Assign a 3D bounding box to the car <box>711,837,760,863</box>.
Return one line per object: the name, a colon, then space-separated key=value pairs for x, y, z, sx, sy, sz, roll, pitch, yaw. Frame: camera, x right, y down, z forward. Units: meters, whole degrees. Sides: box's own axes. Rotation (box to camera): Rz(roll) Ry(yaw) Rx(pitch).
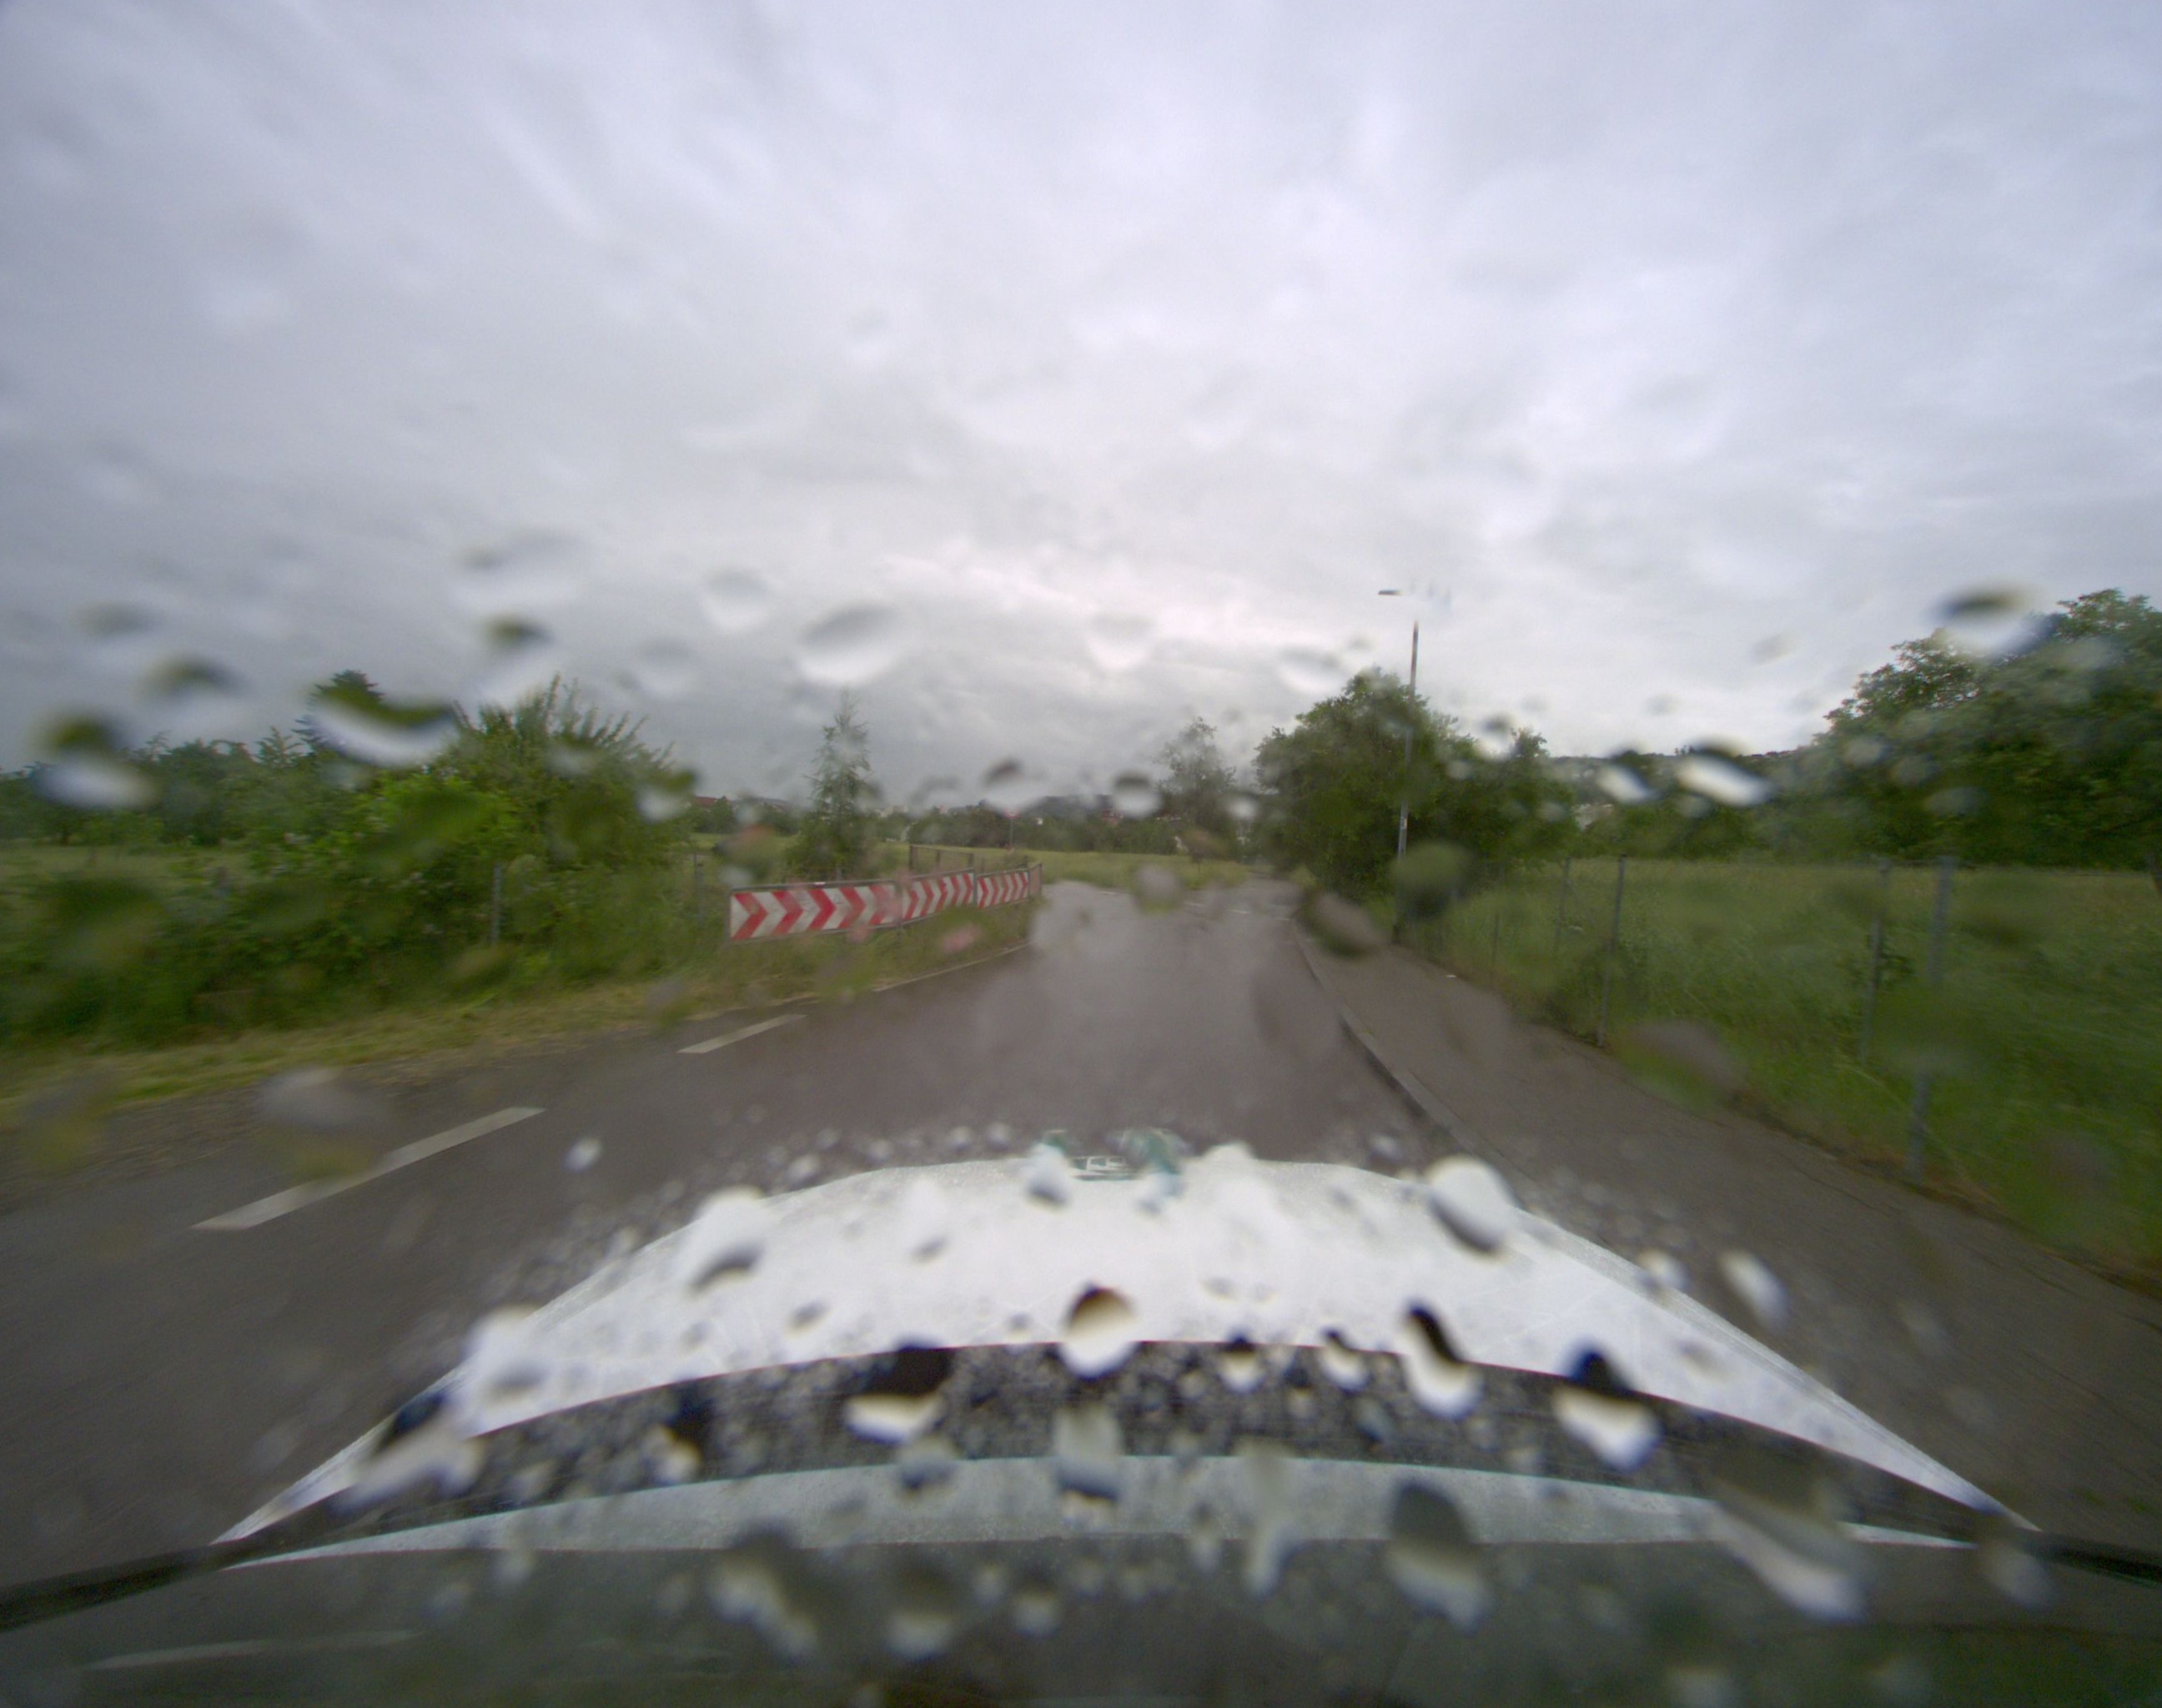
car: x=-22.415 y=-0.286 z=52.838 sx=1.830 sy=1.593 sz=3.953 roll=0 pitch=1 yaw=-41
